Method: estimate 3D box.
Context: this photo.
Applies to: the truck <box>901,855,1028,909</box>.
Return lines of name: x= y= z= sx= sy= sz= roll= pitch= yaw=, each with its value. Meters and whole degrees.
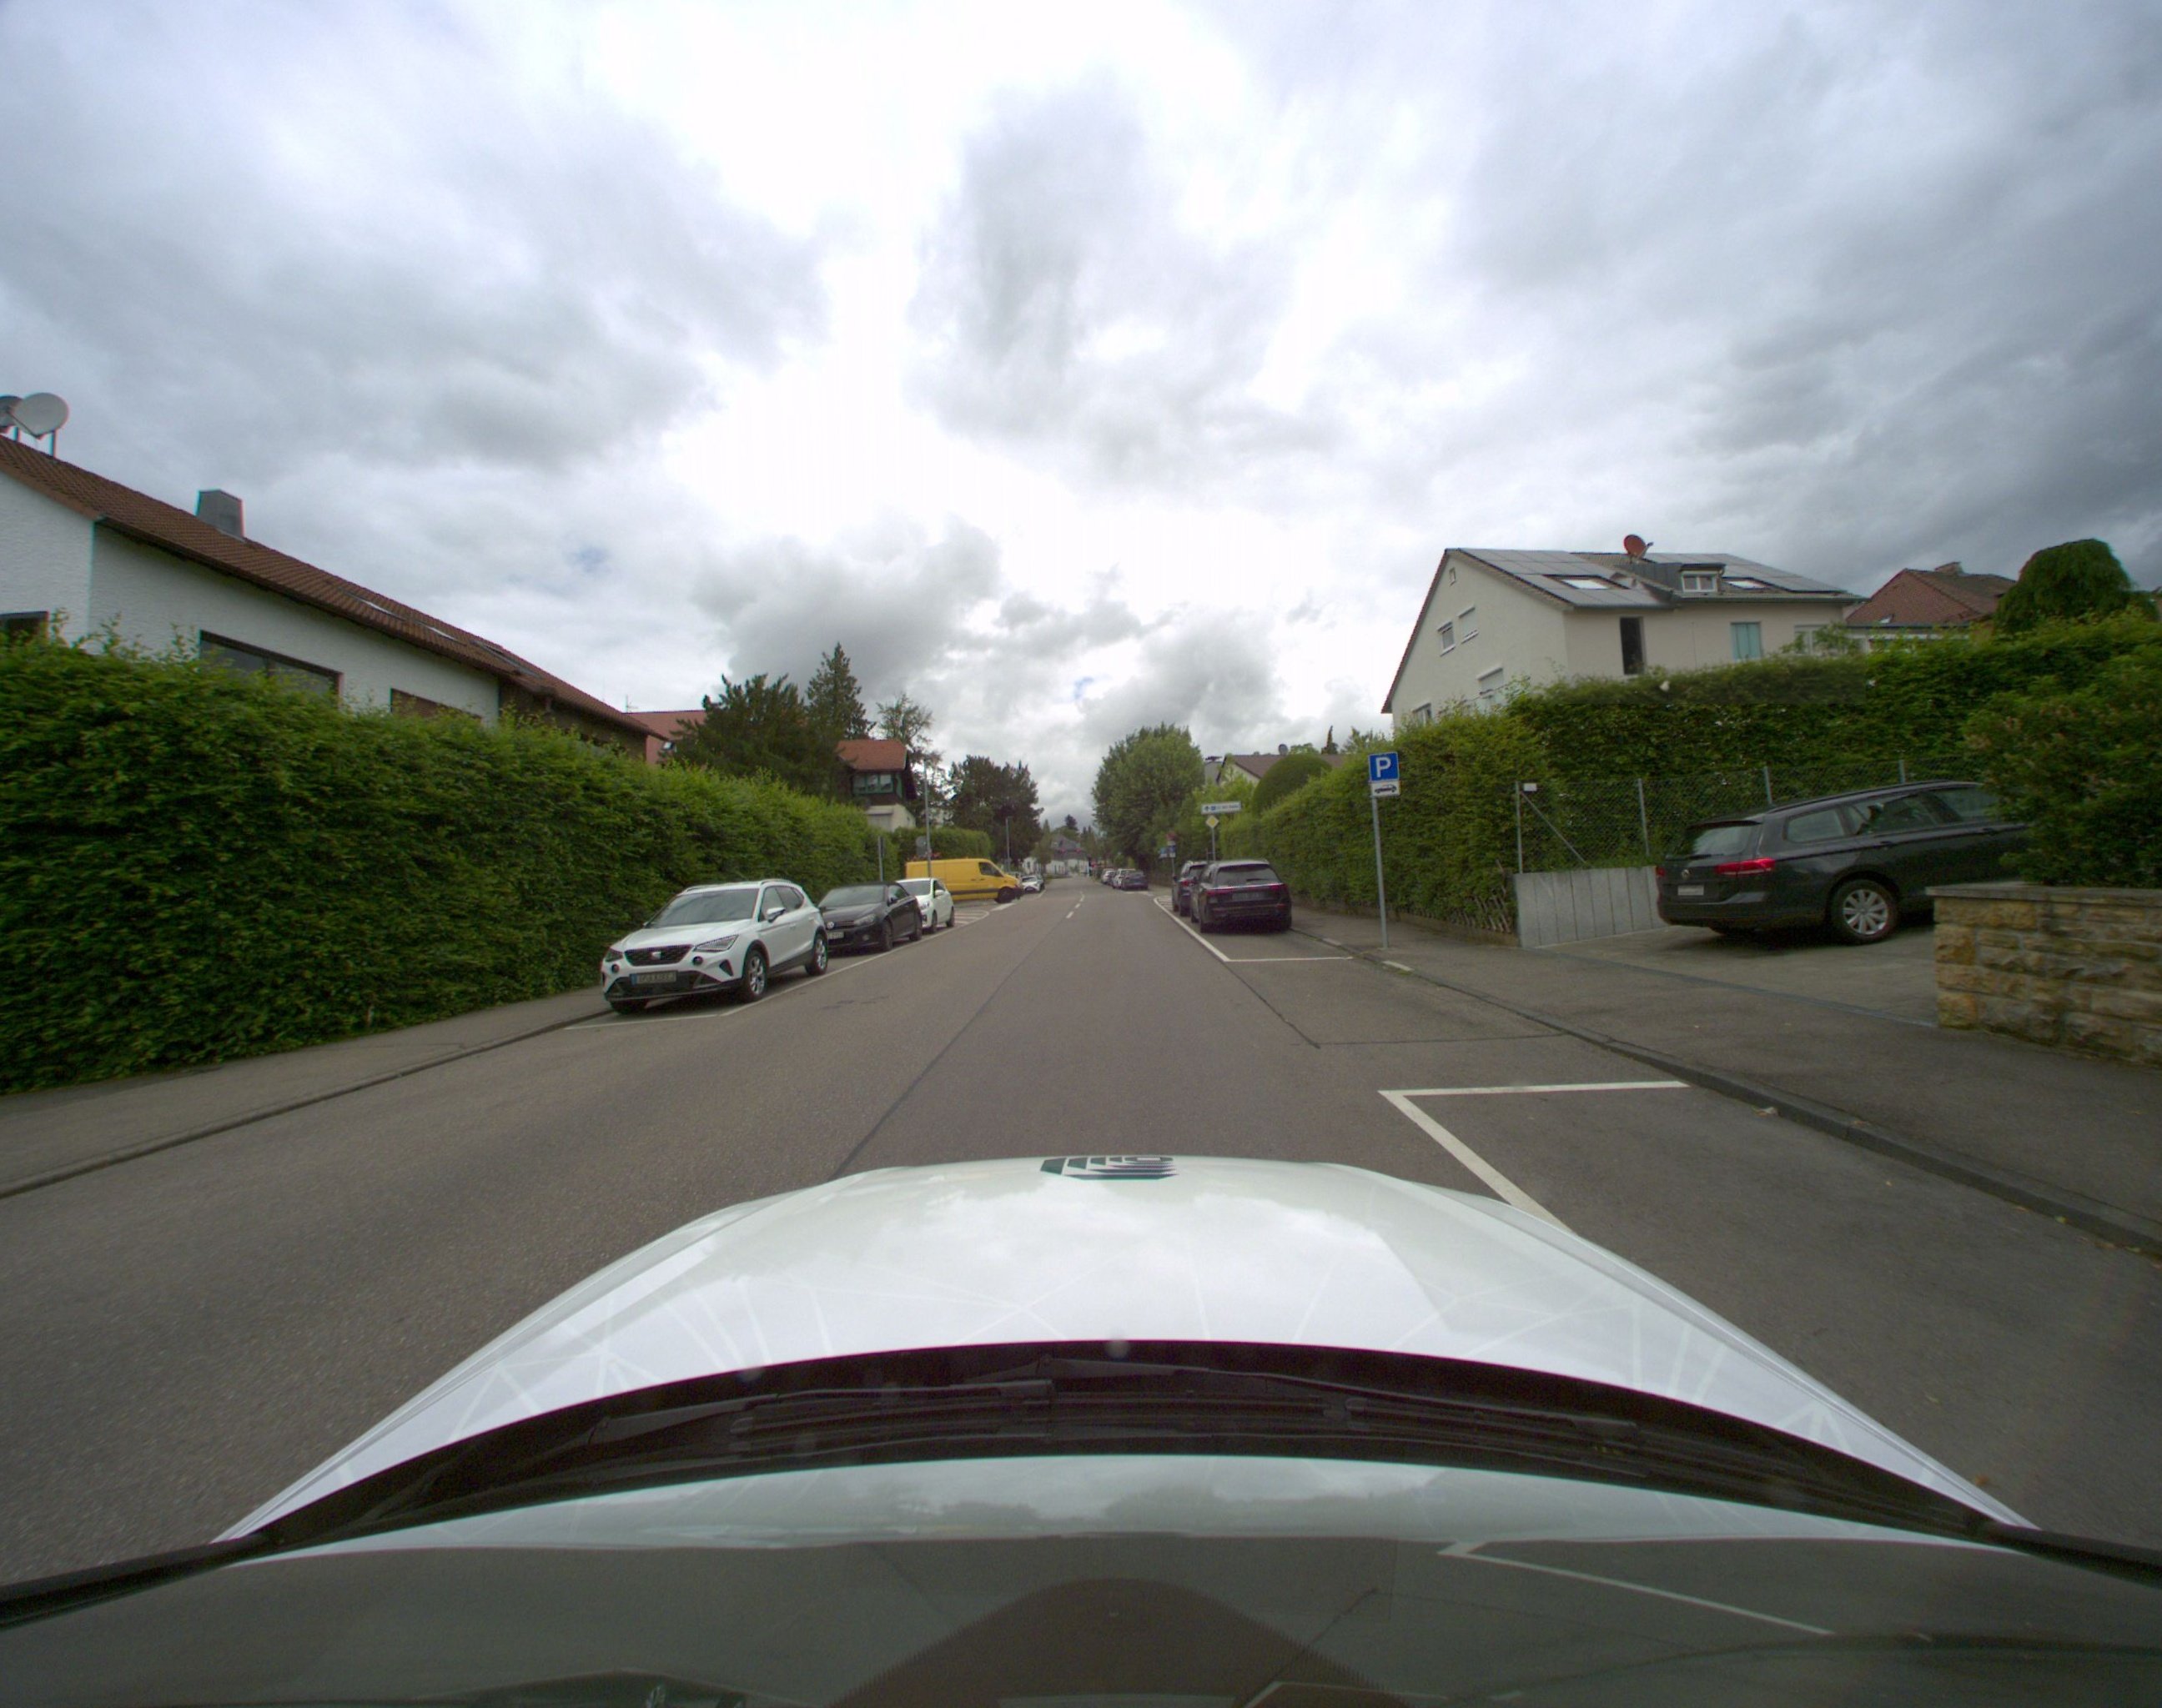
truck: x=-5.904 y=1.423 z=40.998 sx=5.944 sy=2.309 sz=2.810 roll=-2 pitch=-4 yaw=-16

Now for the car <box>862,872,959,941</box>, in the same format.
car: x=-4.525 y=1.345 z=22.144 sx=1.624 sy=1.523 sz=3.639 roll=-6 pitch=-1 yaw=2

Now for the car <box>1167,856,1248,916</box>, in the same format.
car: x=3.629 y=0.888 z=24.086 sx=1.875 sy=1.533 sz=4.478 roll=-2 pitch=-1 yaw=3

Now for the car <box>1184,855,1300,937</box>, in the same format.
car: x=3.423 y=0.841 z=18.146 sx=1.875 sy=1.533 sz=4.478 roll=-2 pitch=-1 yaw=3

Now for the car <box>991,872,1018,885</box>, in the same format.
car: x=-11.105 y=3.543 z=118.745 sx=3.839 sy=1.737 sz=1.638 roll=-3 pitch=-1 yaw=-6

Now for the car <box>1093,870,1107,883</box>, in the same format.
car: x=2.517 y=2.971 z=108.049 sx=1.639 sy=1.668 sz=3.464 roll=-3 pitch=-1 yaw=-2

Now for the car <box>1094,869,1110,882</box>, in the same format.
car: x=2.580 y=2.613 z=99.922 sx=1.661 sy=1.501 sz=3.464 roll=-3 pitch=-1 yaw=-2

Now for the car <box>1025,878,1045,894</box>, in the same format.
car: x=-4.543 y=3.130 z=79.278 sx=1.663 sy=1.399 sz=3.459 roll=-3 pitch=-1 yaw=-7

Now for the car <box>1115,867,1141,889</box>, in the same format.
car: x=3.755 y=1.904 z=65.948 sx=1.709 sy=1.657 sz=3.619 roll=-3 pitch=-1 yaw=-2

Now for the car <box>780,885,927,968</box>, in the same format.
car: x=-4.653 y=1.436 z=17.291 sx=1.756 sy=1.388 sz=4.001 roll=-6 pitch=-2 yaw=2

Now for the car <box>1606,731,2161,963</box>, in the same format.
car: x=8.643 y=-0.061 z=8.930 sx=4.351 sy=1.468 sz=1.968 roll=-11 pitch=-1 yaw=0

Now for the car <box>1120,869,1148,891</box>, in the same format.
car: x=3.956 y=1.925 z=61.171 sx=1.661 sy=1.501 sz=3.464 roll=-3 pitch=-1 yaw=-2

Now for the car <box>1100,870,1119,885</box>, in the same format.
car: x=3.013 y=2.476 z=85.897 sx=1.661 sy=1.501 sz=3.464 roll=-3 pitch=-1 yaw=-2

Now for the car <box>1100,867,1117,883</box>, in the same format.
car: x=3.116 y=2.366 z=92.889 sx=1.661 sy=1.668 sz=3.464 roll=-3 pitch=-1 yaw=-2

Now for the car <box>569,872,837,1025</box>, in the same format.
car: x=-4.877 y=1.112 z=11.219 sx=1.717 sy=1.540 sz=3.999 roll=-5 pitch=-1 yaw=0

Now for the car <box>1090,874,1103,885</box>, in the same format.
car: x=2.248 y=3.690 z=116.769 sx=1.639 sy=1.372 sz=3.464 roll=-3 pitch=-1 yaw=-2

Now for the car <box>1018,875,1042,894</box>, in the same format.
car: x=-4.222 y=2.465 z=66.991 sx=1.663 sy=1.399 sz=3.459 roll=-3 pitch=-1 yaw=-7

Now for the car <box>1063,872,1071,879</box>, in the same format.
car: x=-3.157 y=4.881 z=181.642 sx=1.817 sy=1.420 sz=3.997 roll=-3 pitch=-1 yaw=-2
